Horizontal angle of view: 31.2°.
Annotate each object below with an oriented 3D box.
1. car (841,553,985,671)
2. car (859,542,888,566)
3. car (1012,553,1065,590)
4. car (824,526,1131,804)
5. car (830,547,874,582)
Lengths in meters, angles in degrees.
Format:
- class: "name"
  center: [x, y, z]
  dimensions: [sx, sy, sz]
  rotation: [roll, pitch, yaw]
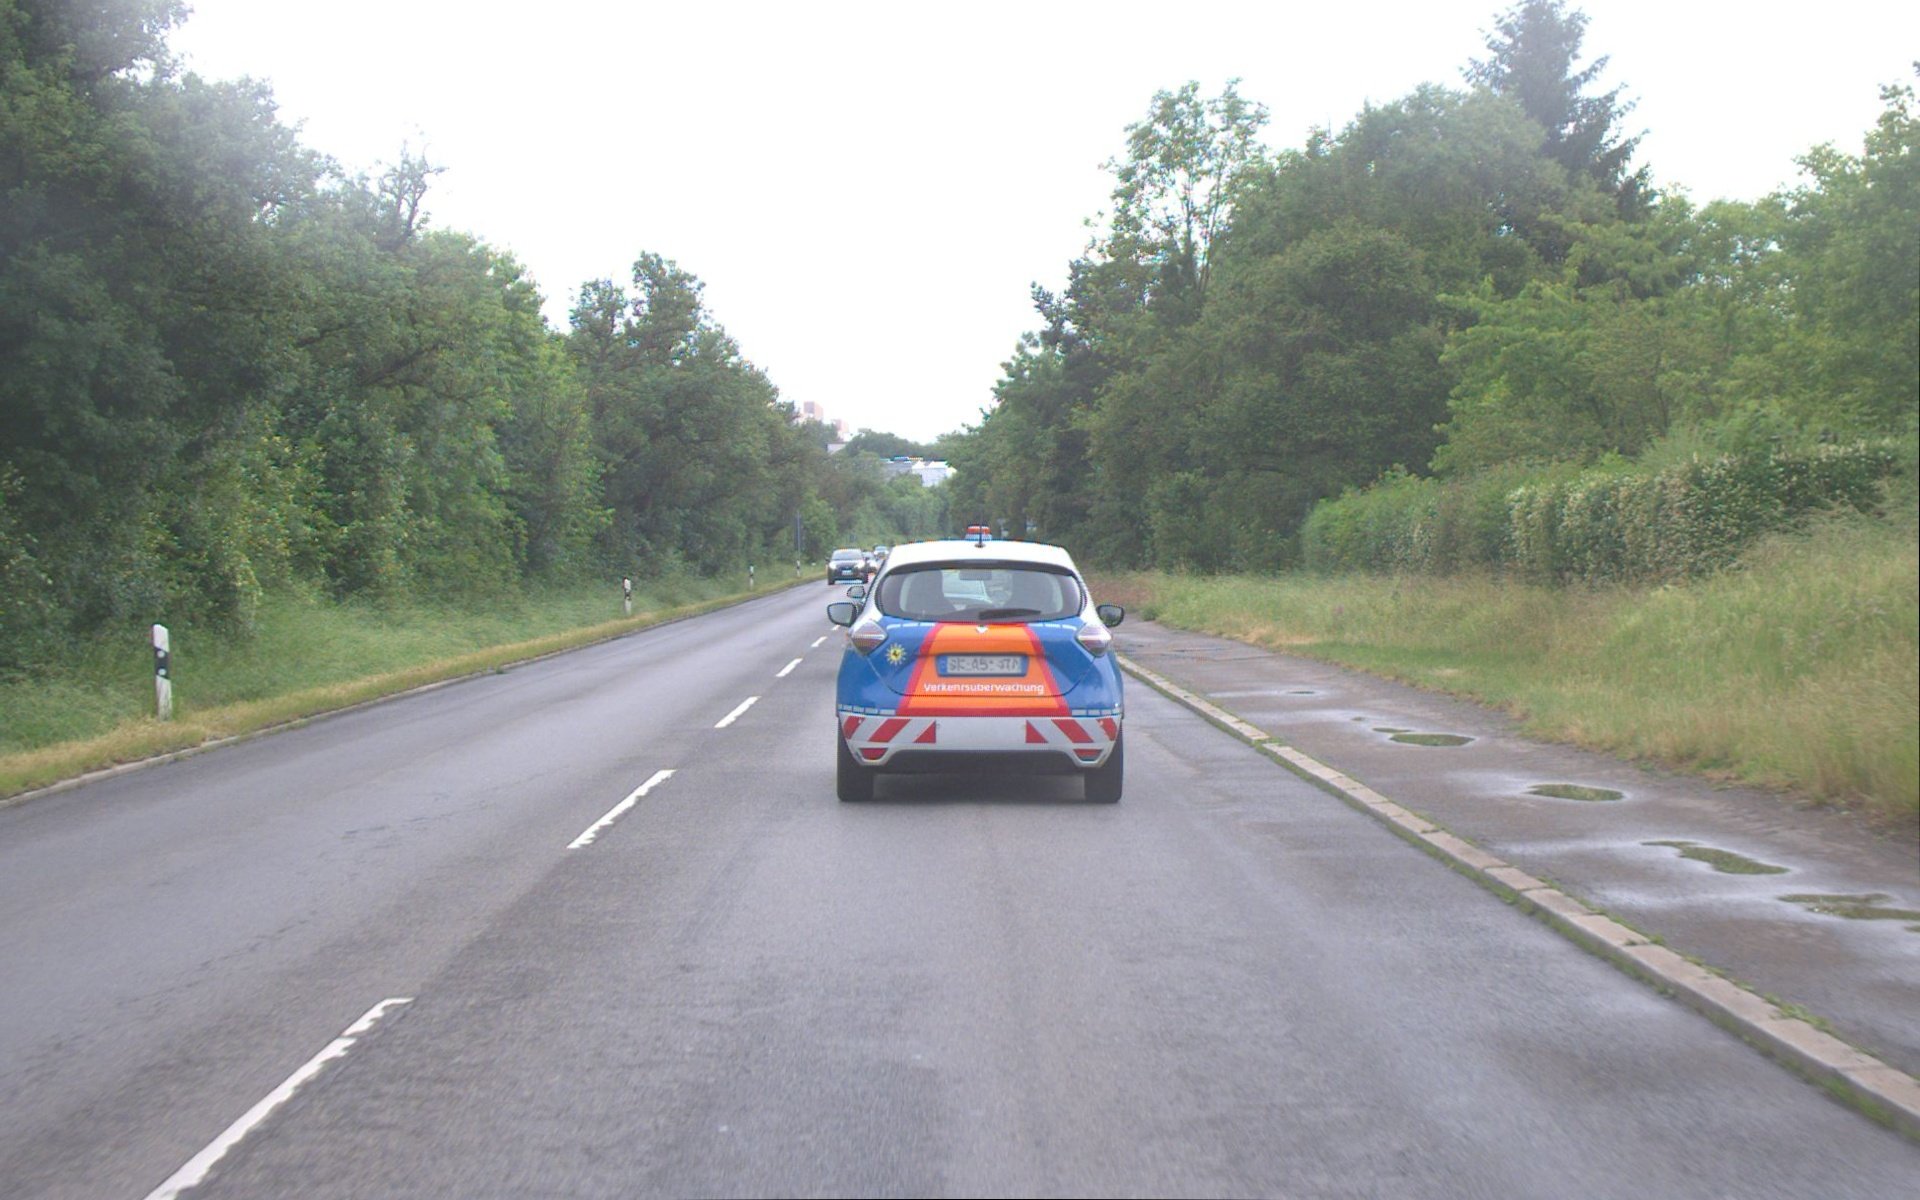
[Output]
- class: "car"
  center: [-0.525, 0.109, 40.783]
  dimensions: [1.598, 1.282, 3.476]
  rotation: [-2, 1, 0]
- class: "car"
  center: [-5.472, -2.930, 217.270]
  dimensions: [1.710, 1.394, 4.150]
  rotation: [-3, 1, -1]
- class: "car"
  center: [3.109, -1.153, 136.764]
  dimensions: [1.993, 1.371, 4.000]
  rotation: [-2, 1, 0]
- class: "car"
  center: [0.077, 0.335, 21.591]
  dimensions: [1.752, 1.550, 3.793]
  rotation: [0, 2, -1]
- class: "car"
  center: [-5.017, -1.663, 160.591]
  dimensions: [1.905, 1.551, 4.516]
  rotation: [-2, 1, -1]
